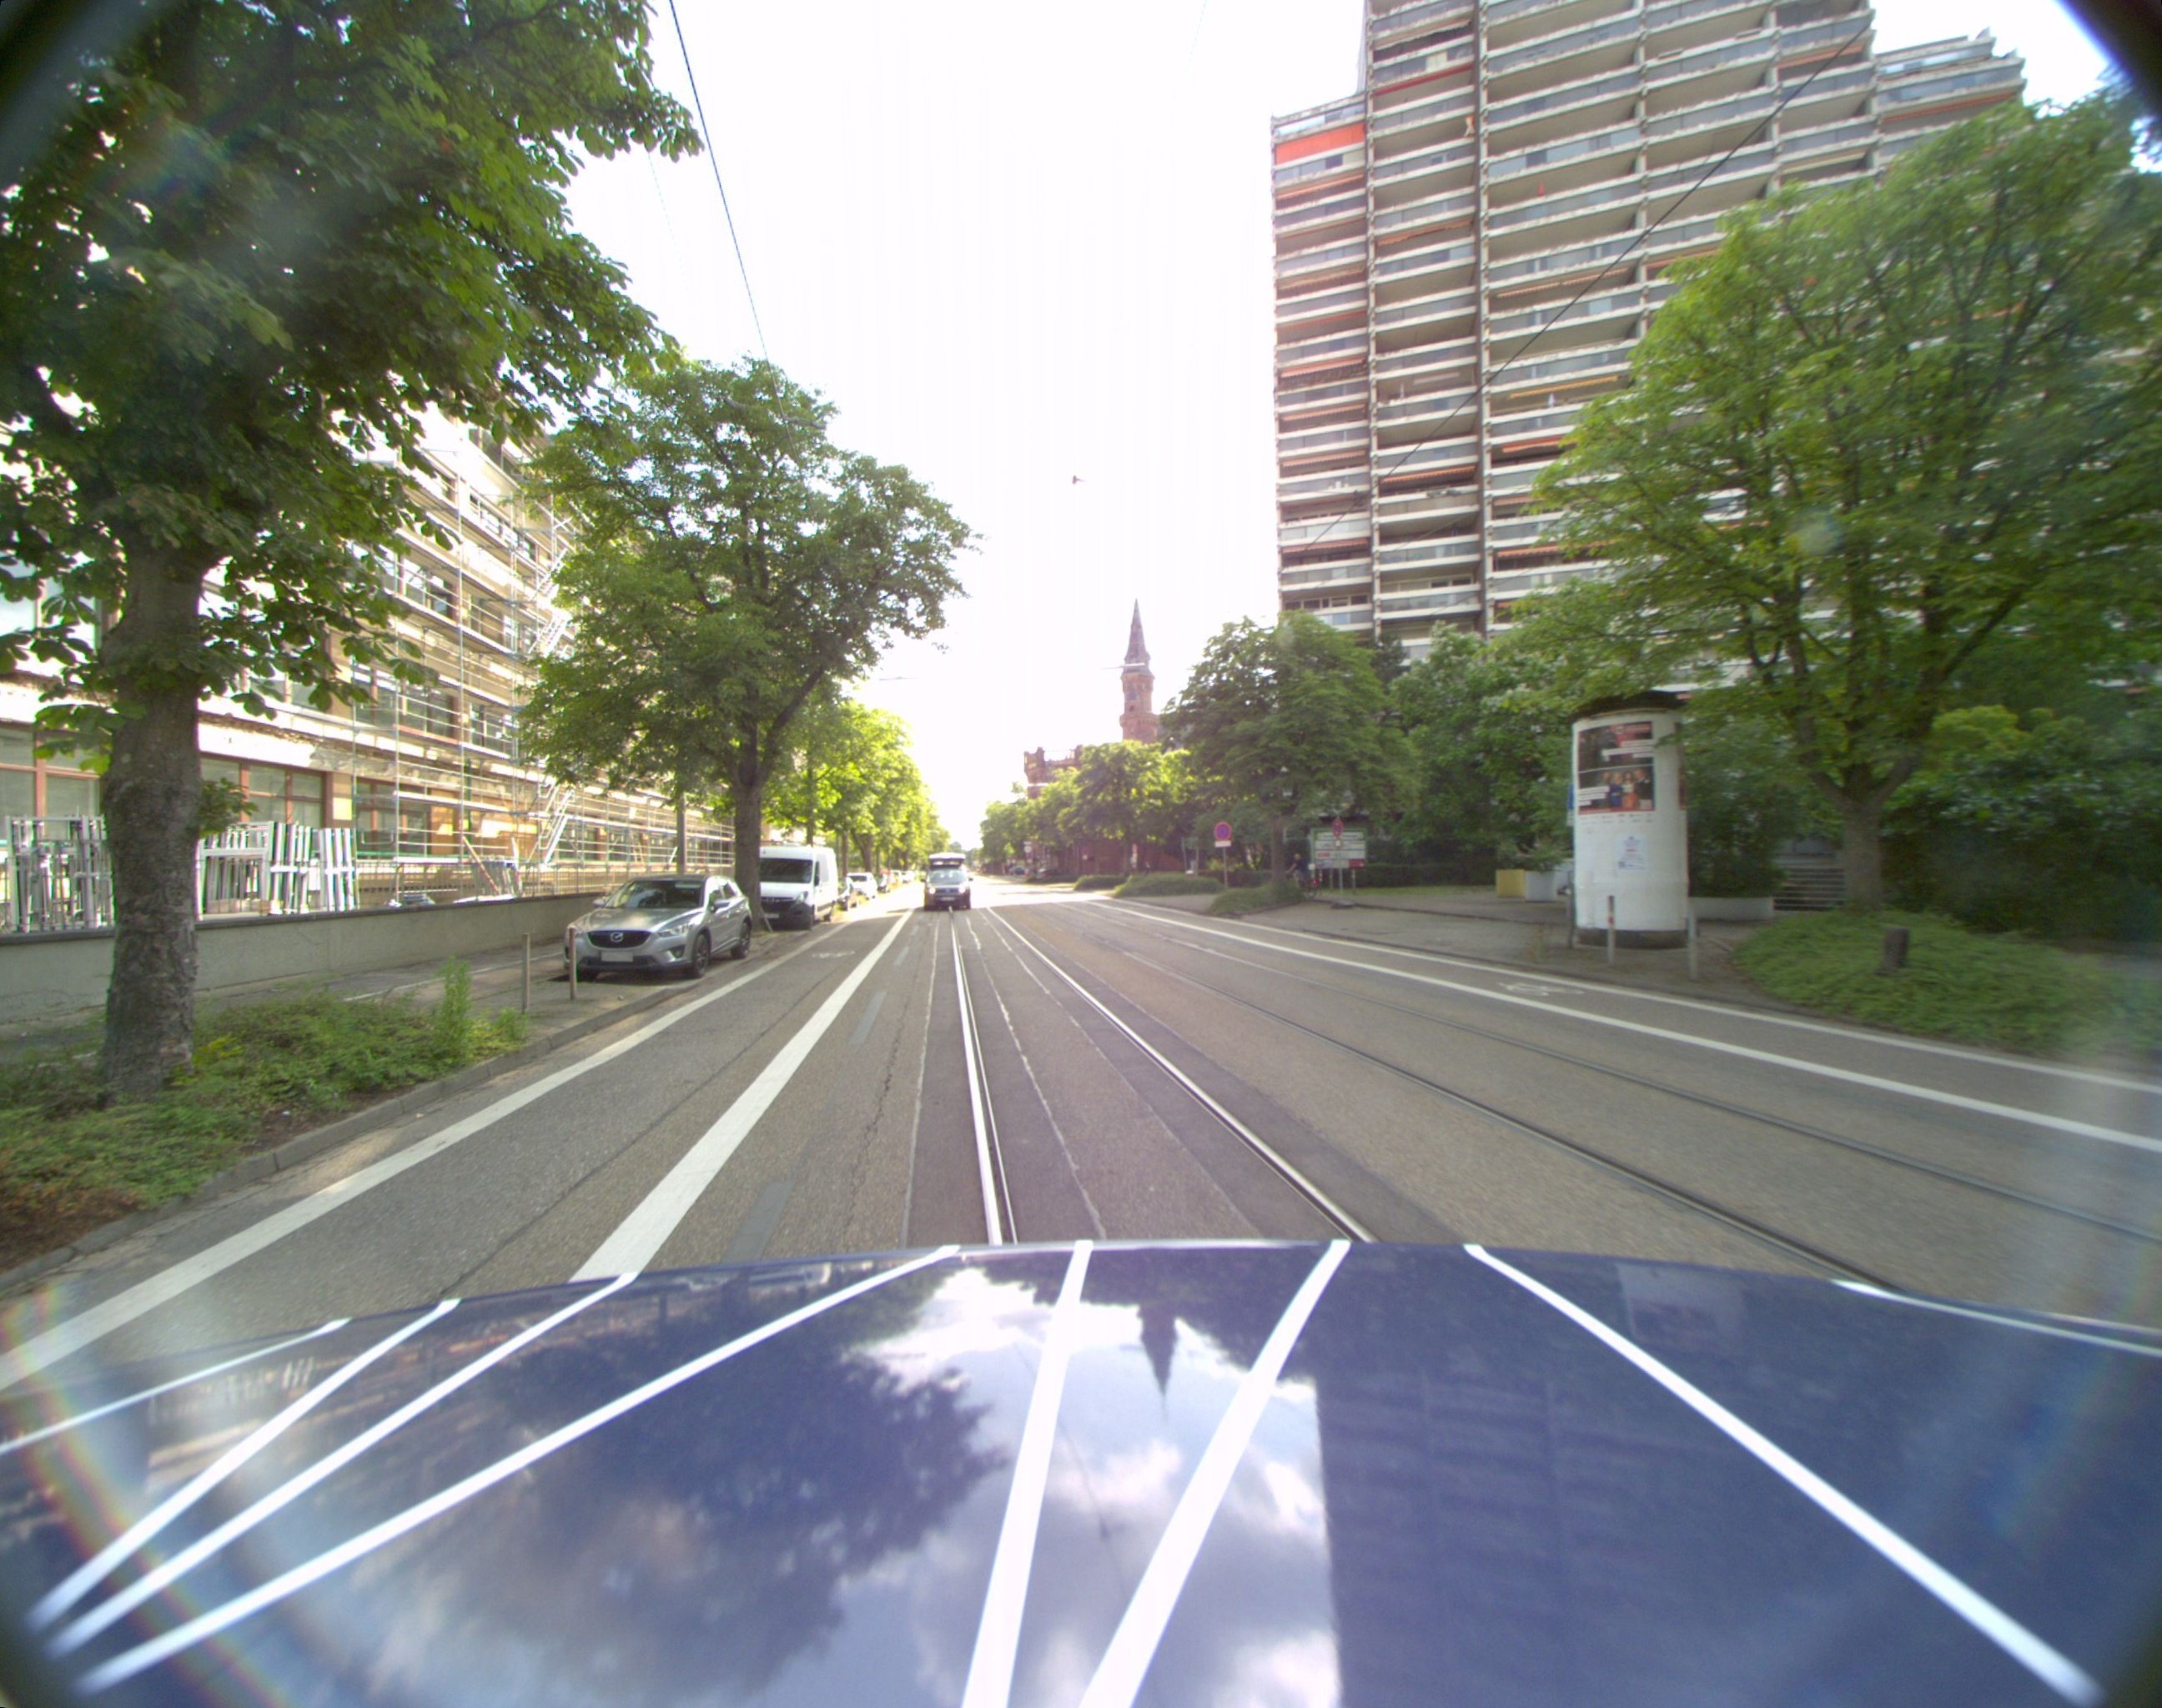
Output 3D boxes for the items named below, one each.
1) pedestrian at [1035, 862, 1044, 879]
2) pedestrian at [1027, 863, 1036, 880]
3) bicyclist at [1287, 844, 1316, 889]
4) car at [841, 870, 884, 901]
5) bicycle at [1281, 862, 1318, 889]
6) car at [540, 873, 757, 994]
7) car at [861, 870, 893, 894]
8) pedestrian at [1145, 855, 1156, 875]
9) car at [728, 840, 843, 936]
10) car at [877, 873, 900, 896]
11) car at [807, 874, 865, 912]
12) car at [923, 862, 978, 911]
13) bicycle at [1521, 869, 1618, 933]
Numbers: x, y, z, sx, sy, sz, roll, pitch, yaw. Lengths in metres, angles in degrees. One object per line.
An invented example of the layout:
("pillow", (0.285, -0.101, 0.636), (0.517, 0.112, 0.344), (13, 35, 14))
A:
("pedestrian", (-5.047, 2.022, 92.430), (0.905, 2.002, 1.056), (-3, 1, -8))
("pedestrian", (-6.021, 2.121, 92.318), (0.905, 2.002, 1.056), (-3, 1, -7))
("bicyclist", (8.735, 0.489, 30.124), (0.725, 1.730, 0.781), (-4, 1, -10))
("car", (-12.138, 1.732, 42.369), (1.569, 1.448, 3.892), (-3, 1, -6))
("bicycle", (8.700, 0.839, 30.359), (0.569, 0.975, 1.981), (-4, 1, -10))
("car", (-7.088, 1.180, 13.034), (1.771, 1.597, 4.455), (-2, 0, -10))
("car", (-14.074, 1.917, 52.525), (1.738, 1.390, 3.627), (-3, 1, -10))
("pedestrian", (5.895, 0.958, 64.295), (0.765, 1.620, 0.737), (-3, 1, -1))
("car", (-8.901, 0.892, 23.480), (2.130, 2.552, 5.913), (-1, 1, -10))
("car", (-15.895, 2.494, 62.846), (1.533, 1.565, 3.644), (-3, 1, -10))
("car", (-10.488, 1.638, 32.789), (1.740, 1.364, 4.503), (0, 0, -10))
("car", (-5.279, 1.259, 30.663), (1.947, 1.763, 4.834), (-2, -1, -11))
("bicycle", (9.383, 0.893, 14.630), (1.504, 1.148, 0.634), (-3, 2, 33))
